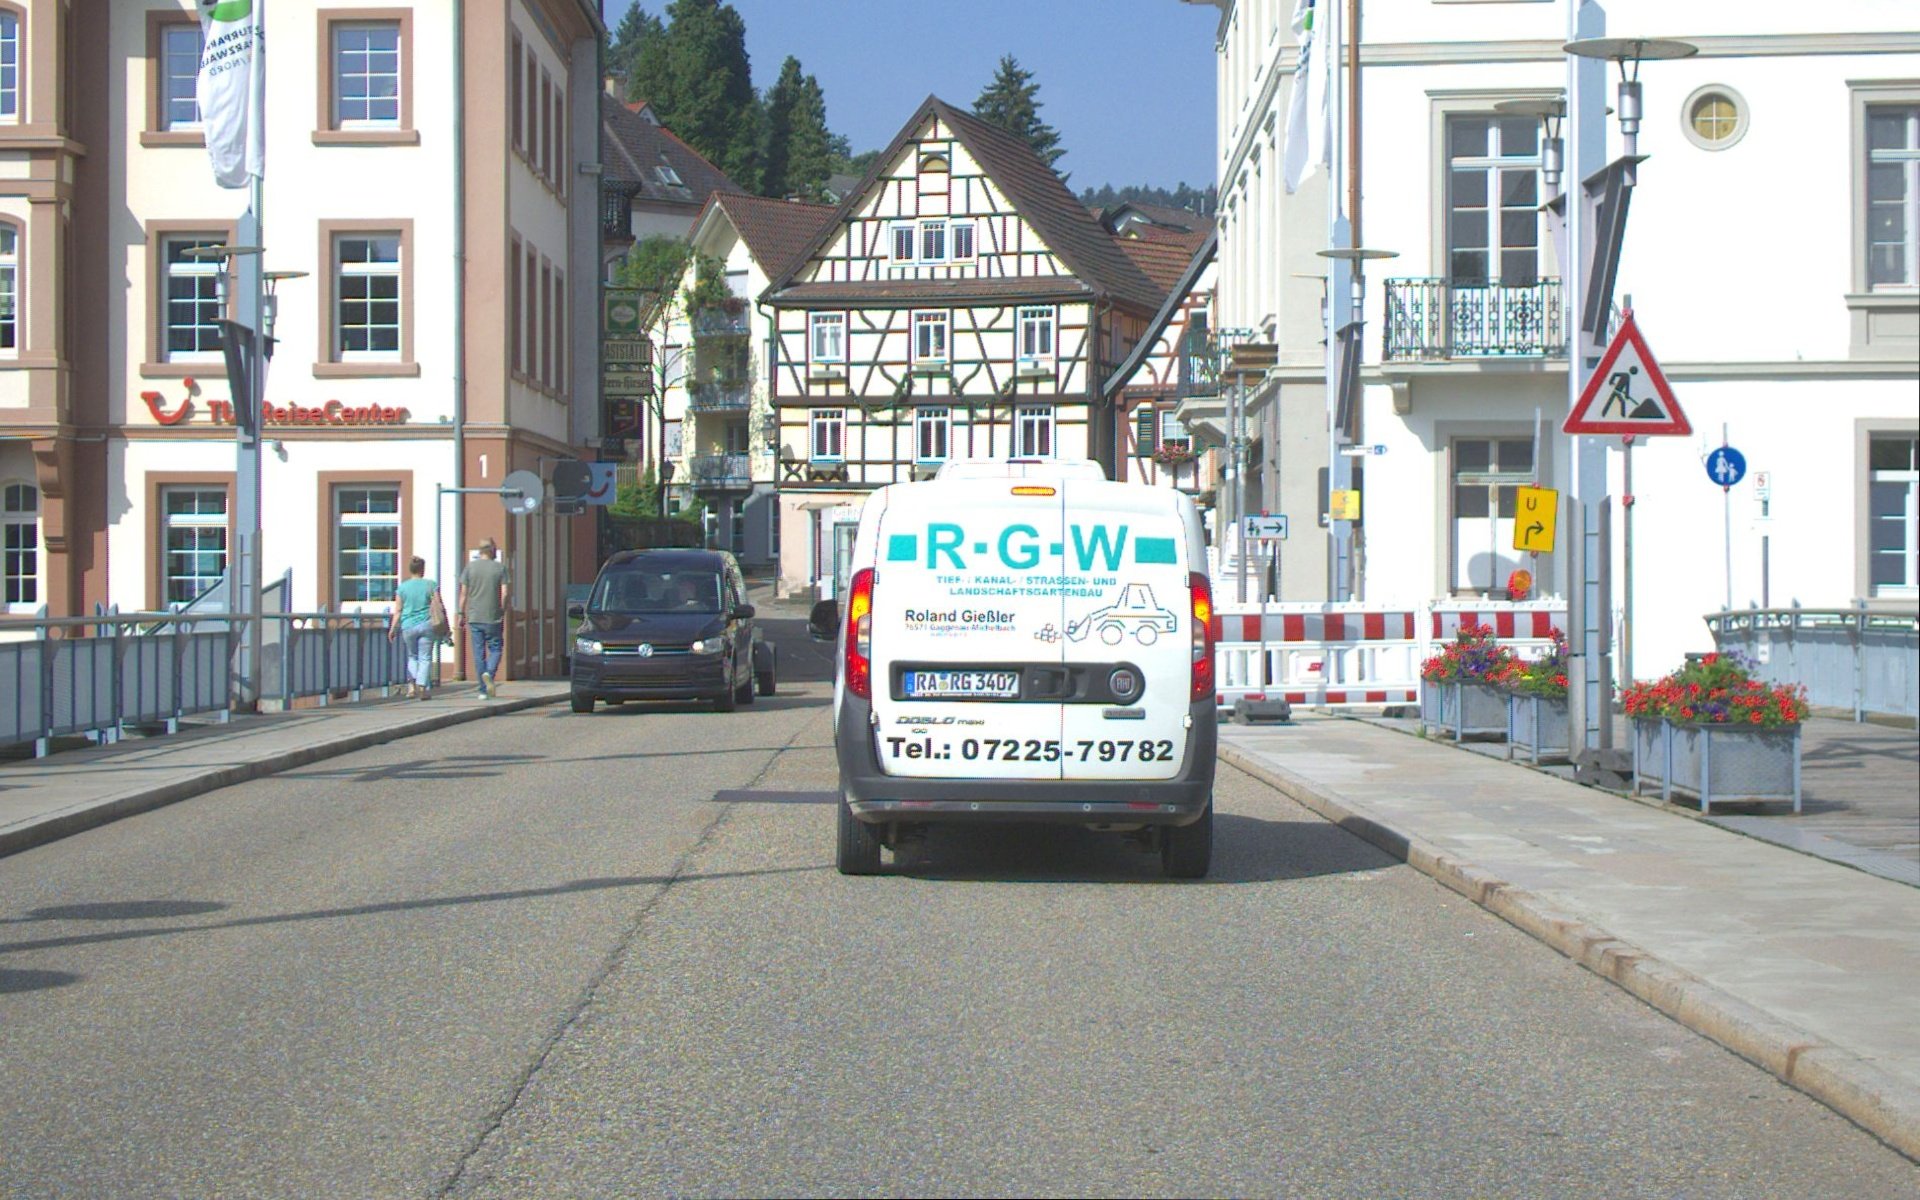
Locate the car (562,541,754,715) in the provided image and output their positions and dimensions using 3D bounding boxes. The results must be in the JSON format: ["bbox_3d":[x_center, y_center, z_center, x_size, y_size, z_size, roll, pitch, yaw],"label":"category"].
[{"bbox_3d":[-3.330,0.258,38.679,1.776,1.786,4.697,1,1,-1],"label":"car"}]

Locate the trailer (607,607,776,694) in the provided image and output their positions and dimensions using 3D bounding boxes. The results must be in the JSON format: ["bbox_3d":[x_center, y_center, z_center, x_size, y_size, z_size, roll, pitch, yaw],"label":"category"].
[{"bbox_3d":[-3.318,0.619,43.175,1.750,1.019,4.185,-1,0,1],"label":"trailer"}]

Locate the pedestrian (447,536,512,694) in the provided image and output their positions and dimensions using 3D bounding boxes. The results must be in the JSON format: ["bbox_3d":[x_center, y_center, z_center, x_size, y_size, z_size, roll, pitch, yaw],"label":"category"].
[{"bbox_3d":[-5.442,0.161,38.968,0.614,1.756,0.864,1,1,-2],"label":"pedestrian"}]

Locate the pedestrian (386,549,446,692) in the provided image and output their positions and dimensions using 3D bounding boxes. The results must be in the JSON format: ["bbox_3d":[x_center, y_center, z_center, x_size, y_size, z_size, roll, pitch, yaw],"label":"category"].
[{"bbox_3d":[-6.208,0.228,39.253,0.583,1.604,0.537,1,1,-2],"label":"pedestrian"}]

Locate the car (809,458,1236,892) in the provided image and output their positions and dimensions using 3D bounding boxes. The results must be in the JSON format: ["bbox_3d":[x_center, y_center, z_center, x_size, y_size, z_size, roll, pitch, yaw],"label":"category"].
[{"bbox_3d":[0.183,0.322,17.382,1.844,1.899,4.315,1,0,-3],"label":"car"}]

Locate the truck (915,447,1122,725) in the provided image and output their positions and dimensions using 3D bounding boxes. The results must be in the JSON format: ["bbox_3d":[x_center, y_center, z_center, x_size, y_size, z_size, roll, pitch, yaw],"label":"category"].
[{"bbox_3d":[0.517,-0.148,34.229,1.861,2.576,4.260,1,0,-1],"label":"truck"}]
